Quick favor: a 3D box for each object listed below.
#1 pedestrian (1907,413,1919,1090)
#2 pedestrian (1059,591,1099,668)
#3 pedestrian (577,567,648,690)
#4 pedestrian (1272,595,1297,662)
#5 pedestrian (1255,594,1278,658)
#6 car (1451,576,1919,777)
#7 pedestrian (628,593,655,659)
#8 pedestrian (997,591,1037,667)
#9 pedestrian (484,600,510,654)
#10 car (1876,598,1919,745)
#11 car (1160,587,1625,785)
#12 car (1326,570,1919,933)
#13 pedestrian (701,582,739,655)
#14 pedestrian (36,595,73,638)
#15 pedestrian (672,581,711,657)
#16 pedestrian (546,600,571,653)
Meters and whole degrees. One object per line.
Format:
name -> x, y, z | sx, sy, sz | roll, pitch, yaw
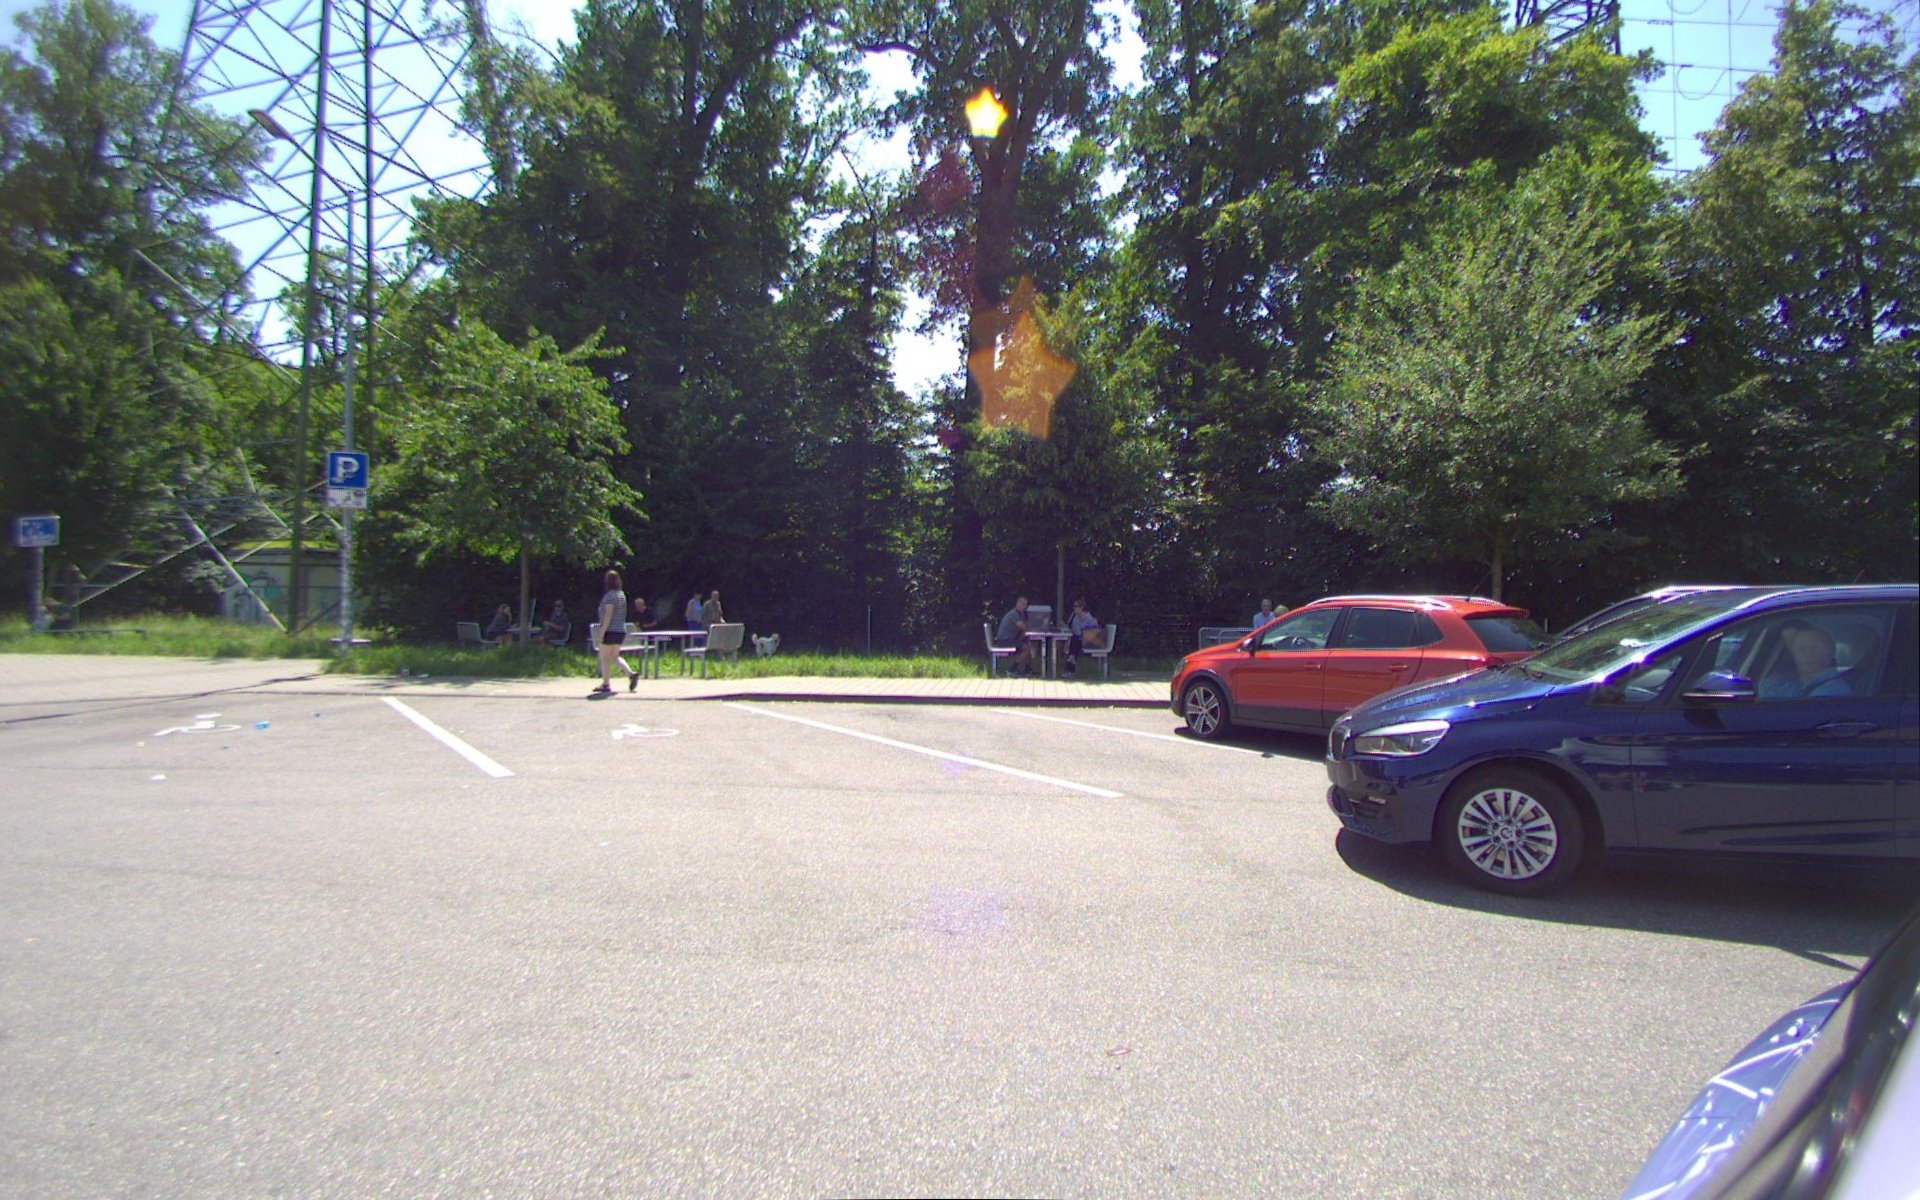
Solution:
pedestrian -> 3.054, 0.448, 2.432 | 0.803, 1.974, 0.915 | 0, 0, 18
pedestrian -> 1.979, 0.486, 16.850 | 0.586, 1.261, 0.498 | 0, 0, 16
pedestrian -> -4.834, 0.389, 14.111 | 0.703, 1.670, 0.686 | 0, 0, 9
pedestrian -> 5.747, 0.497, 17.945 | 0.350, 1.180, 0.384 | 0, 0, 8
pedestrian -> 5.795, 0.485, 19.120 | 0.350, 1.180, 0.384 | 0, 0, 8
car -> 7.074, 0.587, 9.860 | 1.620, 1.575, 3.826 | 0, 0, -37
pedestrian -> -6.711, 0.535, 21.339 | 0.438, 1.363, 0.462 | 0, 0, -5
pedestrian -> 0.966, 0.488, 17.107 | 0.586, 1.261, 0.445 | 0, 0, 16
pedestrian -> -10.458, 0.602, 22.850 | 0.452, 1.182, 0.447 | 0, 0, -34
car -> 10.874, 0.698, 9.006 | 1.620, 1.420, 3.826 | 0, 0, -37
car -> 3.858, 0.628, 9.643 | 1.619, 1.487, 3.830 | 0, 0, -33
car -> 4.251, 0.647, 5.278 | 4.285, 1.572, 1.739 | 1, 1, 17
pedestrian -> -5.448, 0.398, 22.972 | 0.636, 1.625, 0.571 | 0, 0, -41
pedestrian -> -20.976, 0.383, 23.448 | 0.452, 0.987, 0.447 | 0, 0, -2
pedestrian -> -5.913, 0.407, 22.275 | 0.636, 1.625, 0.571 | 0, 0, -41
pedestrian -> -9.370, 0.603, 23.591 | 0.452, 1.209, 0.447 | 0, 0, -34
